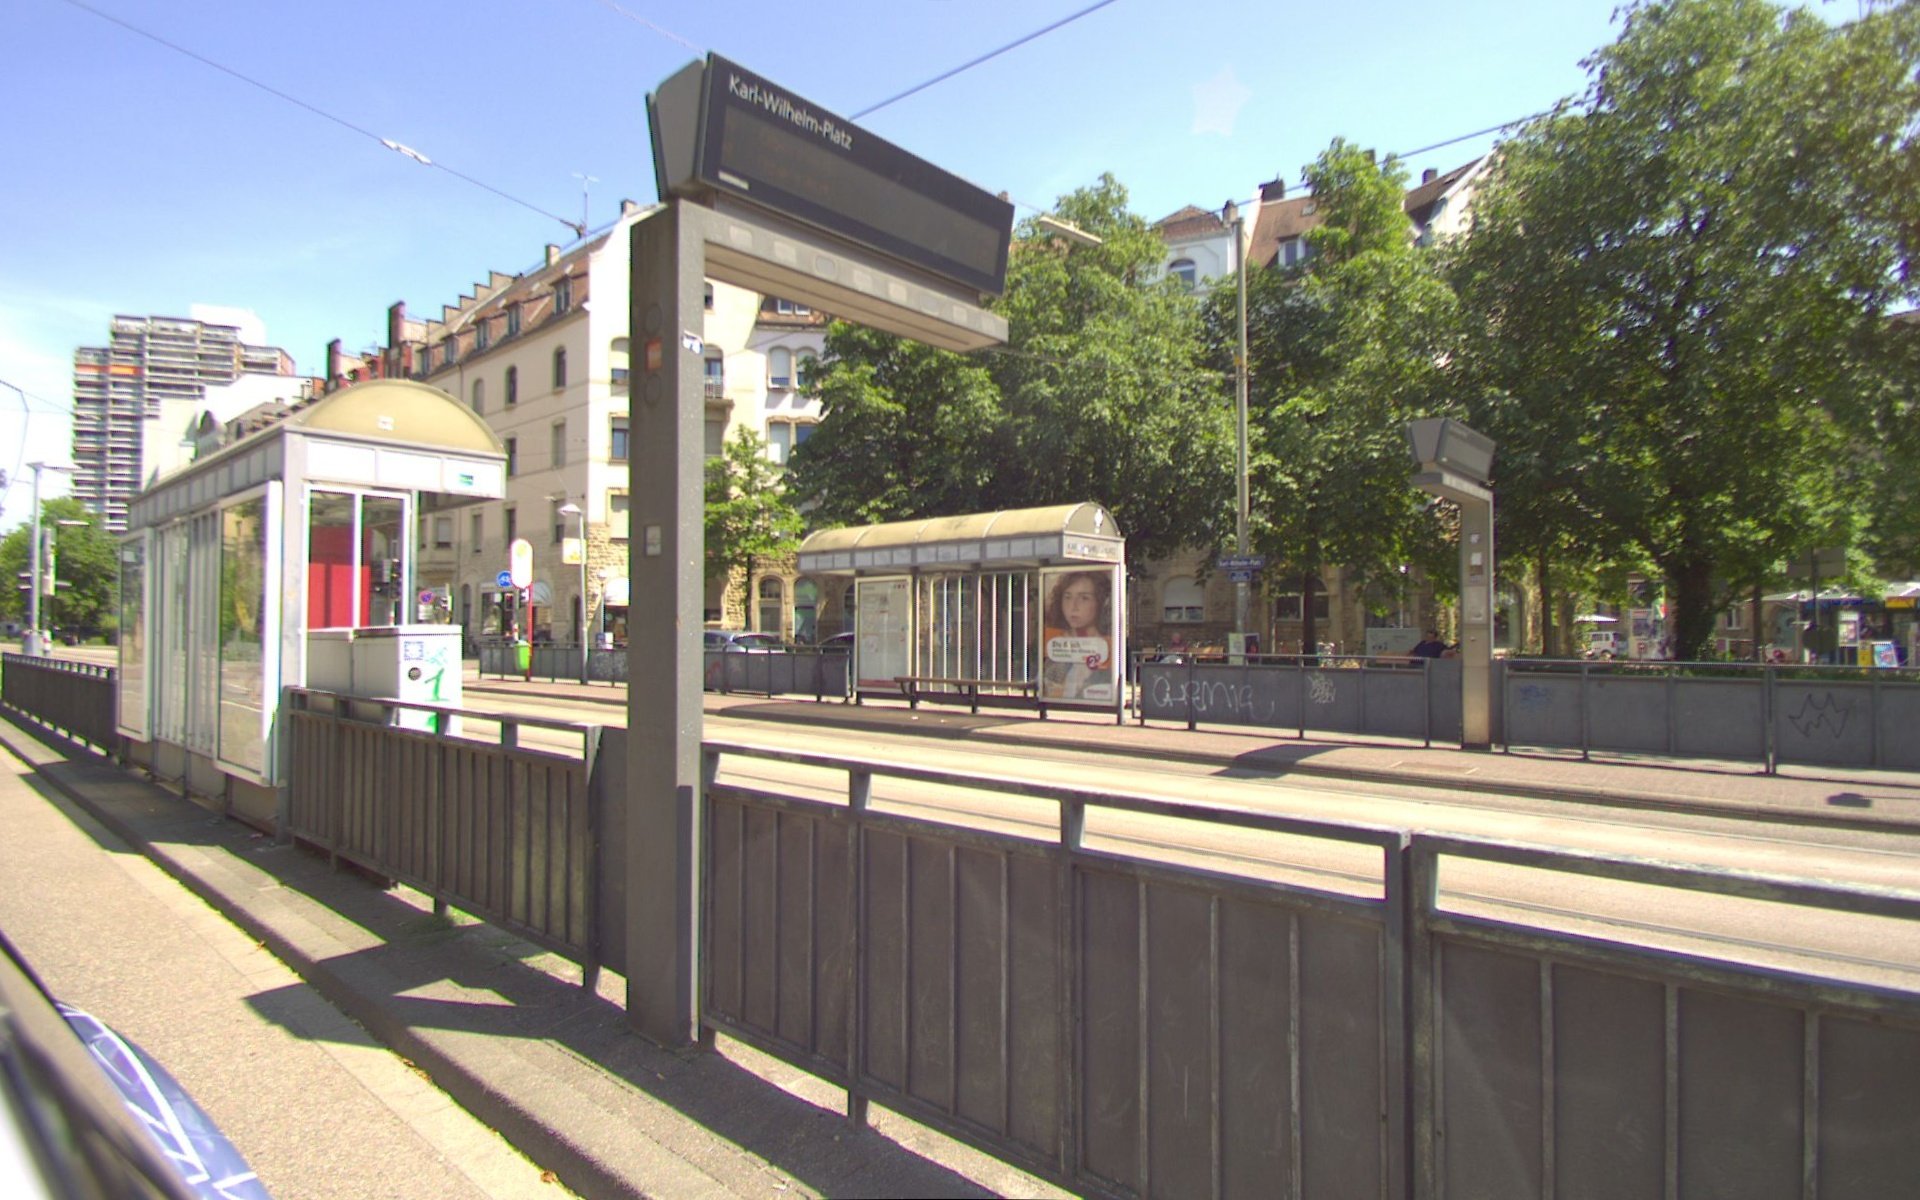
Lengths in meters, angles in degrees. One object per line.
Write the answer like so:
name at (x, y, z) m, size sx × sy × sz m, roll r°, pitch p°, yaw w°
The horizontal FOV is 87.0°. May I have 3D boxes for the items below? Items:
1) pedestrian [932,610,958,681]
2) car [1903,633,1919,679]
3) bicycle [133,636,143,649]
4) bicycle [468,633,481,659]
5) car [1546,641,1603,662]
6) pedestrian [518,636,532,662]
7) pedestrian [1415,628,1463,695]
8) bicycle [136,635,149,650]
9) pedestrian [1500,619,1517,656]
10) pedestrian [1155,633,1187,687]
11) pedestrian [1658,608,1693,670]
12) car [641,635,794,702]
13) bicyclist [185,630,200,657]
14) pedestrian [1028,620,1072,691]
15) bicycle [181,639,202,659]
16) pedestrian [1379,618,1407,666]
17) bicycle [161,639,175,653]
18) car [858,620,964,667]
pedestrian at (-0.396, 1.207, 27.059) m, size 0.504 × 1.893 × 0.494 m, roll 1°, pitch -2°, yaw -44°
car at (32.285, 1.779, 32.545) m, size 3.676 × 1.453 × 1.546 m, roll 0°, pitch -1°, yaw -24°
bicycle at (-65.078, 3.357, 80.089) m, size 1.899 × 1.054 × 0.286 m, roll -1°, pitch -1°, yaw 42°
bicycle at (-23.838, 2.257, 49.717) m, size 0.447 × 1.234 × 2.086 m, roll 0°, pitch -1°, yaw -29°
car at (26.599, 2.228, 43.842) m, size 1.899 × 0.872 × 0.856 m, roll -1°, pitch -1°, yaw 17°
pedestrian at (-19.643, 2.193, 45.689) m, size 0.405 × 1.157 × 0.401 m, roll -1°, pitch -1°, yaw 38°
pedestrian at (9.480, 1.201, 20.046) m, size 0.637 × 1.297 × 0.618 m, roll 0°, pitch -1°, yaw 2°
bicycle at (-63.505, 3.307, 78.605) m, size 2.046 × 1.105 × 0.487 m, roll -2°, pitch -2°, yaw 42°
pedestrian at (24.626, 1.676, 45.405) m, size 0.560 × 1.635 × 0.507 m, roll -1°, pitch -2°, yaw 41°
pedestrian at (5.067, 1.434, 24.319) m, size 0.637 × 1.265 × 0.549 m, roll 0°, pitch -1°, yaw 2°
pedestrian at (23.704, 1.290, 33.526) m, size 0.801 × 2.029 × 0.716 m, roll 2°, pitch -3°, yaw -41°
car at (-5.618, 1.513, 23.267) m, size 3.716 × 1.349 × 1.525 m, roll -1°, pitch -1°, yaw 40°
bicyclist at (-45.256, 2.565, 59.644) m, size 0.585 × 1.586 × 0.602 m, roll -1°, pitch -2°, yaw 41°
pedestrian at (2.096, 1.277, 23.643) m, size 0.772 × 1.618 × 0.673 m, roll -1°, pitch -1°, yaw 38°
bicycle at (-45.295, 2.900, 59.666) m, size 1.977 × 1.166 × 0.621 m, roll -2°, pitch -2°, yaw 42°
pedestrian at (16.053, 1.533, 37.531) m, size 0.606 × 1.764 × 0.719 m, roll 0°, pitch -1°, yaw -25°
bicycle at (-56.523, 3.273, 72.249) m, size 1.953 × 0.955 × 0.457 m, roll -2°, pitch -2°, yaw 42°
car at (-1.703, 1.521, 35.582) m, size 3.544 × 1.587 × 1.580 m, roll 0°, pitch -1°, yaw 6°
